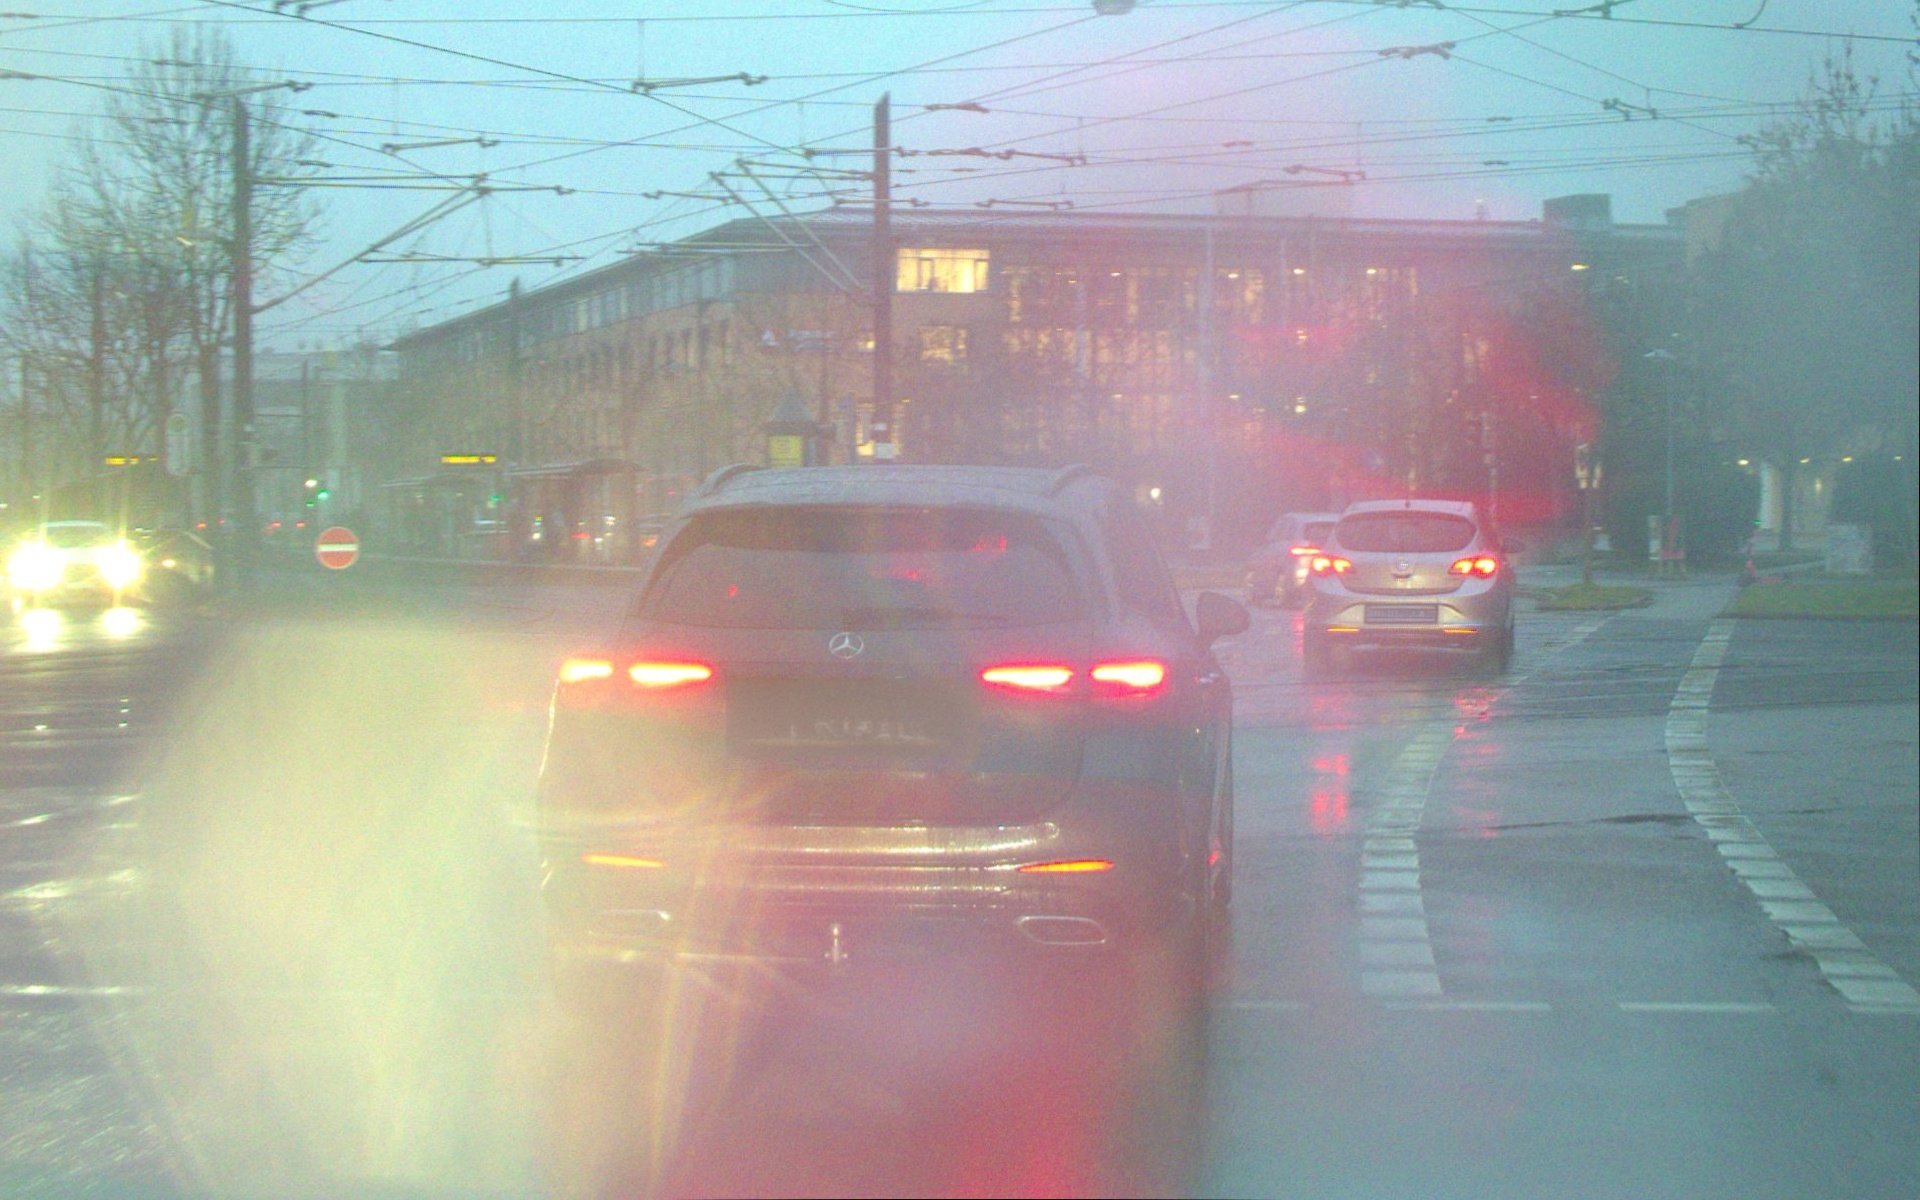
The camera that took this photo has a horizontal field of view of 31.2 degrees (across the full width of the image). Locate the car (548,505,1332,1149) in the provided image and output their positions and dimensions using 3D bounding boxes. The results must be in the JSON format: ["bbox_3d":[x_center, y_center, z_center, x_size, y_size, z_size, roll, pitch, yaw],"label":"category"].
[{"bbox_3d":[-0.131,0.524,10.795,1.990,1.610,4.001,-1,2,-2],"label":"car"}]

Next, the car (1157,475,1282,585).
[{"bbox_3d":[4.318,-1.192,57.602,1.994,1.759,4.000,0,2,3],"label":"car"}]

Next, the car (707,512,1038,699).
[{"bbox_3d":[-0.634,-0.001,28.232,1.994,1.393,3.999,0,2,9],"label":"car"}]

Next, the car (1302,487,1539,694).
[{"bbox_3d":[4.250,-0.141,31.268,1.994,1.759,3.999,0,2,10],"label":"car"}]

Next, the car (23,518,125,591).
[{"bbox_3d":[-16.174,-0.848,62.662,1.536,1.241,4.089,-1,2,-18],"label":"car"}]
